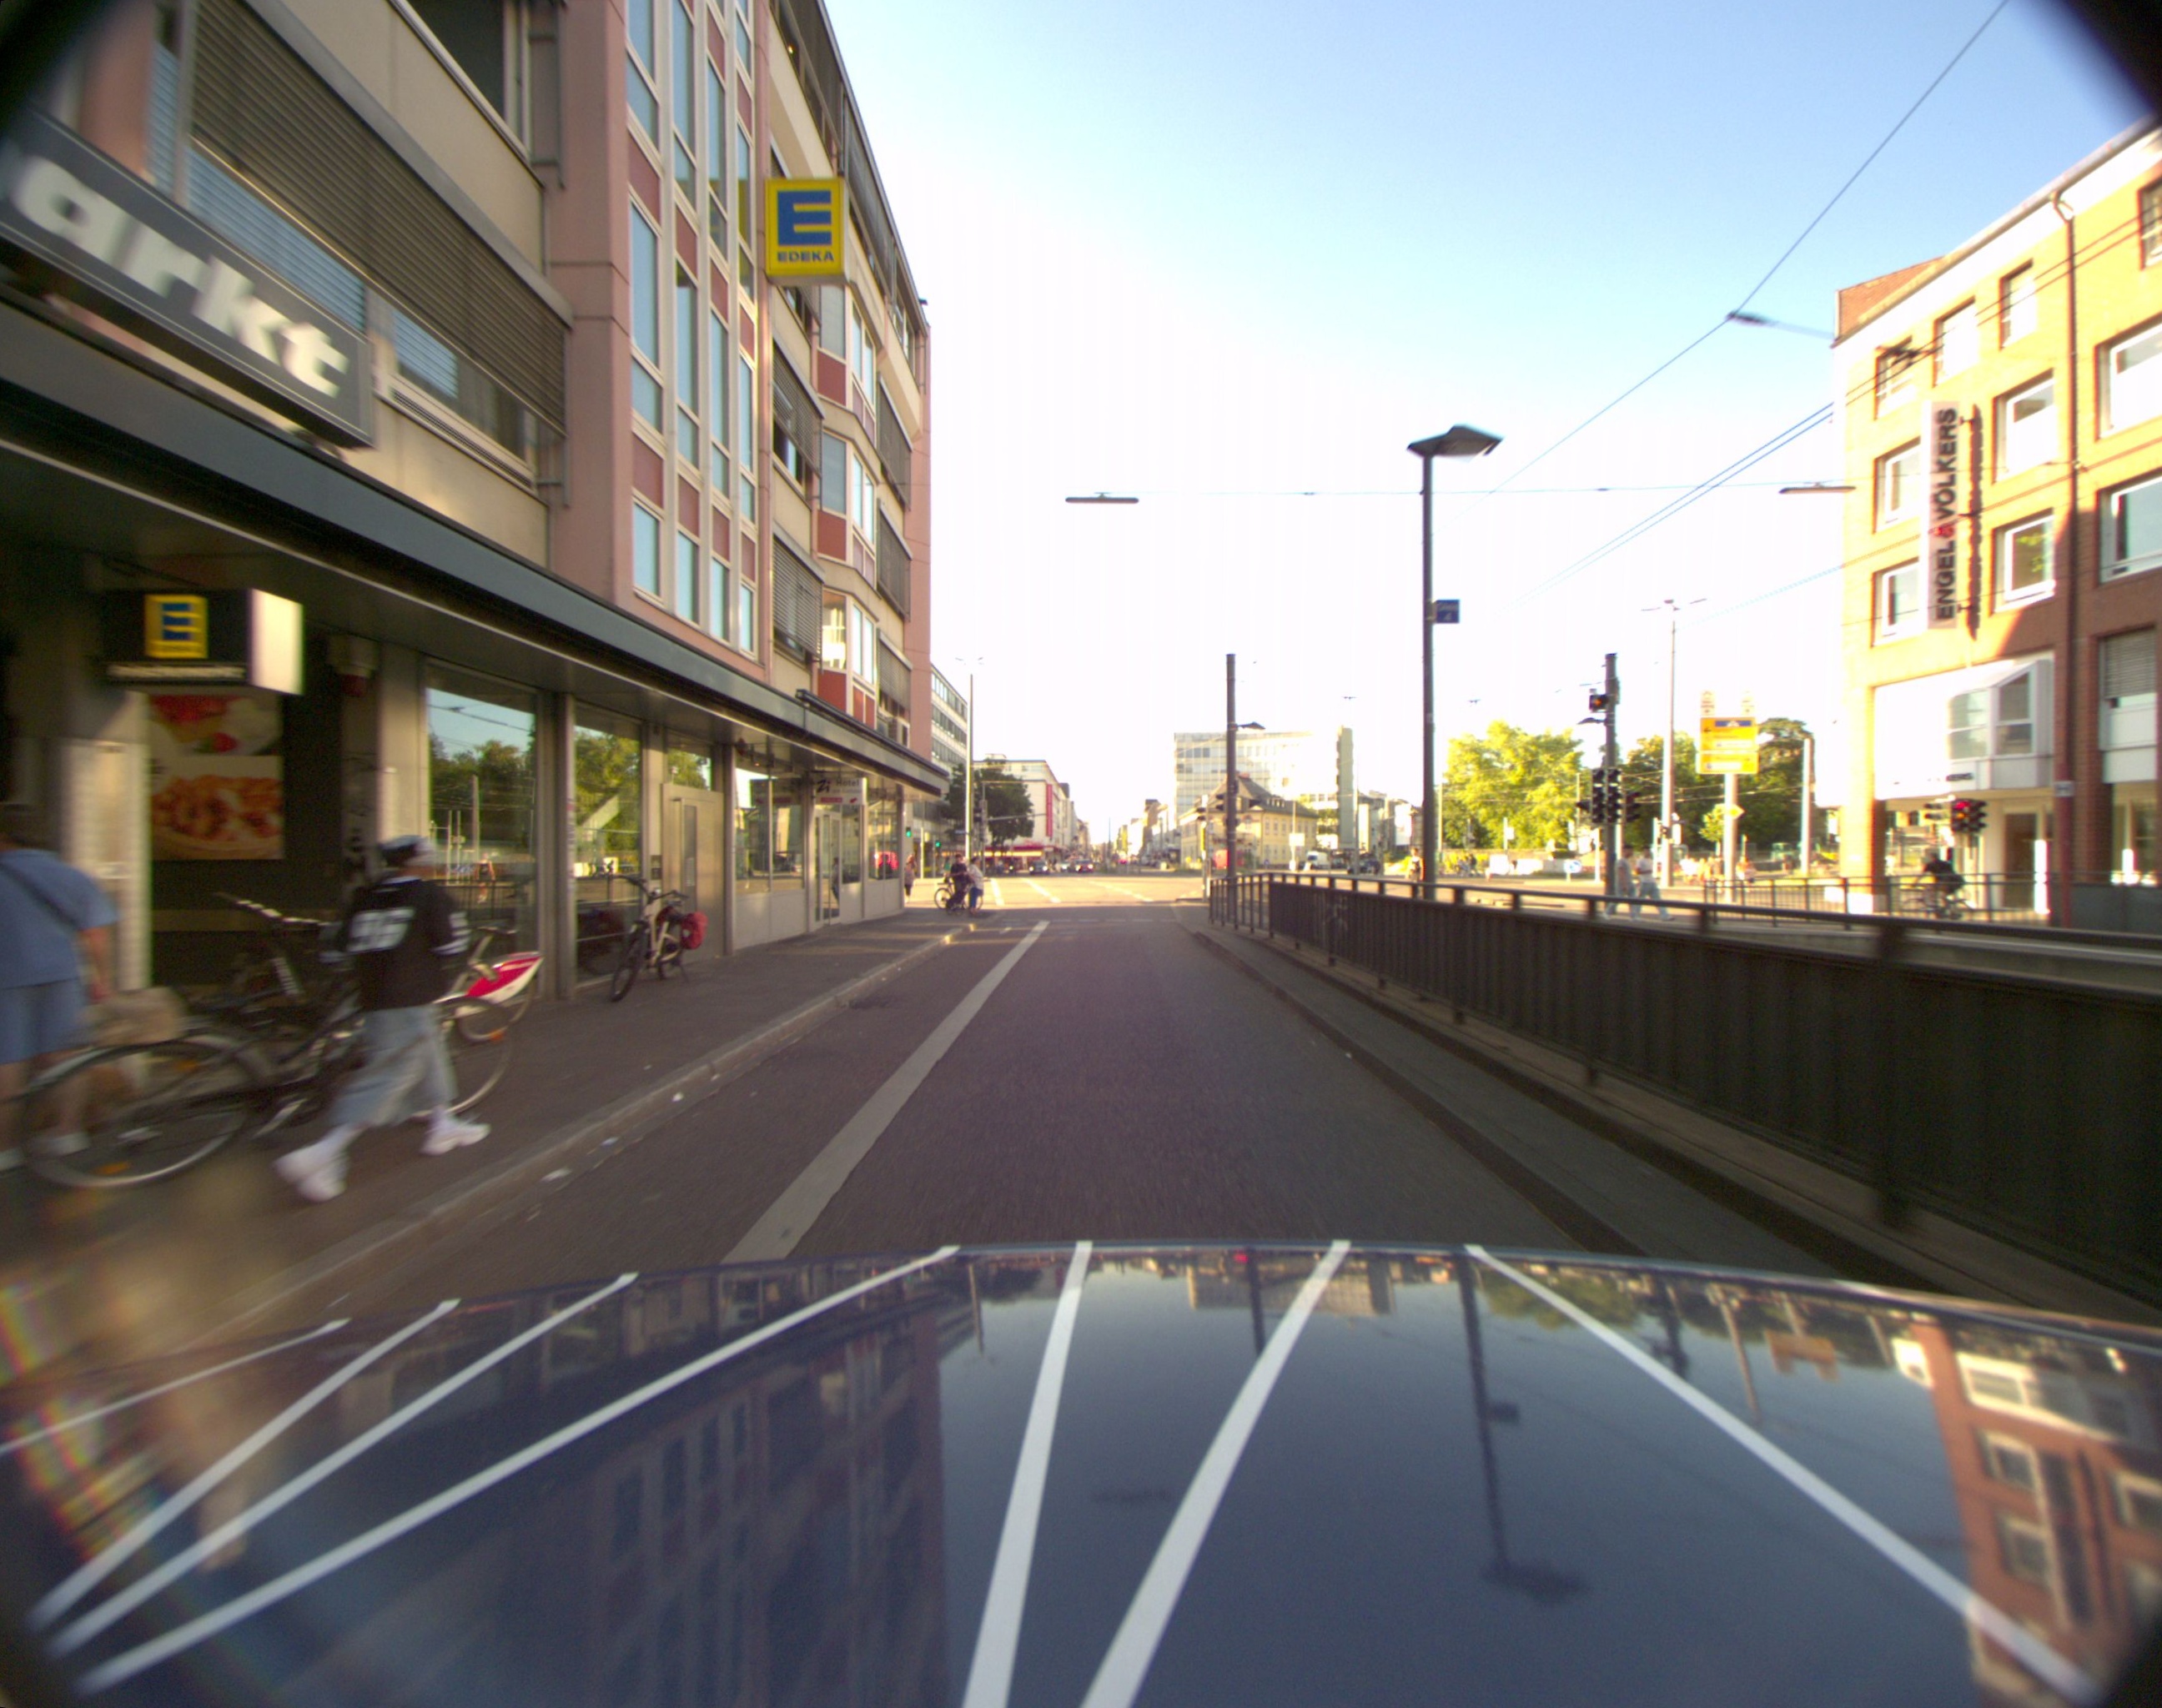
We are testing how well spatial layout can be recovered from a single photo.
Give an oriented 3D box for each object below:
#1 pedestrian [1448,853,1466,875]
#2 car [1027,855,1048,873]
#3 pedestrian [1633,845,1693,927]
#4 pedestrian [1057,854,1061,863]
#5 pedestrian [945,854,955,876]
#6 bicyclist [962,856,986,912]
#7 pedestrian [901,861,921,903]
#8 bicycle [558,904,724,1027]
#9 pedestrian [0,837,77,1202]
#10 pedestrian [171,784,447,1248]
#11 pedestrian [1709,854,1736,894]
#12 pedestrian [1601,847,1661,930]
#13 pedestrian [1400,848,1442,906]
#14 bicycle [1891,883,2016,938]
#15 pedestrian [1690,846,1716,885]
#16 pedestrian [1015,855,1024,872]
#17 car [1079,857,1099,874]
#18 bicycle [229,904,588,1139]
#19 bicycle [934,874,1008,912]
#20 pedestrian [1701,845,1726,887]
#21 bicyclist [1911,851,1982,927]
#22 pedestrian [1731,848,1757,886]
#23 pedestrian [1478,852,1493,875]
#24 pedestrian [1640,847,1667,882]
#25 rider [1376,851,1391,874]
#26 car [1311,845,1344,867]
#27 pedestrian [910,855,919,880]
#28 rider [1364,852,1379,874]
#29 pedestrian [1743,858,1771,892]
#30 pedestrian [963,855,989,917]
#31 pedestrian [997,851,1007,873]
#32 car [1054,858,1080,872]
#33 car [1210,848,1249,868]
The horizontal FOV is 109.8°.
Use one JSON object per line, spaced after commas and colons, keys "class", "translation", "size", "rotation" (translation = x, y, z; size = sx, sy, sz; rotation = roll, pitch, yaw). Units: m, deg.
{"class": "pedestrian", "translation": [34.178, 0.898, 69.093], "size": [1.073, 2.002, 0.989], "rotation": [-3, 1, 6]}
{"class": "car", "translation": [-4.345, 0.962, 76.399], "size": [1.972, 1.664, 4.875], "rotation": [-2, 0, -1]}
{"class": "pedestrian", "translation": [13.154, 0.701, 17.176], "size": [0.862, 1.757, 0.809], "rotation": [-4, 1, -35]}
{"class": "pedestrian", "translation": [-3.361, 0.708, 114.665], "size": [0.597, 1.434, 0.613], "rotation": [0, 1, -2]}
{"class": "pedestrian", "translation": [-8.945, 0.741, 52.008], "size": [0.597, 1.434, 0.613], "rotation": [-3, 1, -10]}
{"class": "bicyclist", "translation": [-3.283, 0.915, 23.331], "size": [0.637, 1.668, 0.768], "rotation": [-1, 1, -2]}
{"class": "pedestrian", "translation": [-6.271, 1.016, 28.007], "size": [0.691, 1.526, 0.613], "rotation": [0, 1, -10]}
{"class": "bicycle", "translation": [-4.532, 1.097, 8.003], "size": [0.678, 0.971, 1.842], "rotation": [4, 1, -2]}
{"class": "pedestrian", "translation": [-4.893, 0.722, 3.363], "size": [0.406, 1.586, 0.462], "rotation": [3, 1, 29]}
{"class": "pedestrian", "translation": [-3.445, 0.632, 3.489], "size": [0.734, 1.805, 0.805], "rotation": [-1, 1, -36]}
{"class": "pedestrian", "translation": [29.492, 0.921, 34.931], "size": [0.858, 1.757, 0.813], "rotation": [-2, 1, 38]}
{"class": "pedestrian", "translation": [12.118, 0.743, 16.750], "size": [0.862, 1.757, 0.809], "rotation": [-4, 1, -39]}
{"class": "pedestrian", "translation": [10.988, 0.744, 24.574], "size": [0.812, 1.793, 0.859], "rotation": [-3, 1, -27]}
{"class": "bicycle", "translation": [20.915, 1.322, 18.282], "size": [0.574, 1.114, 2.055], "rotation": [-3, 1, -2]}
{"class": "pedestrian", "translation": [33.210, 0.614, 40.567], "size": [0.812, 2.002, 0.858], "rotation": [-4, 1, -39]}
{"class": "pedestrian", "translation": [-6.226, 0.971, 76.813], "size": [0.860, 1.700, 1.051], "rotation": [-2, 1, -3]}
{"class": "car", "translation": [0.838, 1.211, 79.477], "size": [1.971, 1.664, 4.876], "rotation": [-2, 0, 1]}
{"class": "bicycle", "translation": [-4.390, 0.999, 5.148], "size": [0.800, 1.169, 1.634], "rotation": [3, 1, 13]}
{"class": "bicycle", "translation": [-3.363, 1.184, 23.318], "size": [2.175, 1.117, 0.768], "rotation": [-1, 1, -3]}
{"class": "pedestrian", "translation": [30.993, 0.582, 37.249], "size": [0.858, 2.002, 0.813], "rotation": [-2, 1, 38]}
{"class": "bicyclist", "translation": [20.878, 0.836, 18.333], "size": [0.738, 1.757, 0.811], "rotation": [-3, 1, -1]}
{"class": "pedestrian", "translation": [36.326, 0.713, 41.629], "size": [0.812, 2.002, 0.858], "rotation": [-4, 1, -39]}
{"class": "pedestrian", "translation": [36.616, 0.820, 68.786], "size": [1.011, 2.002, 0.991], "rotation": [-2, 1, 35]}
{"class": "pedestrian", "translation": [33.446, 0.599, 44.393], "size": [0.811, 2.002, 0.860], "rotation": [-3, 1, -13]}
{"class": "rider", "translation": [28.390, 0.798, 71.383], "size": [1.011, 2.002, 0.991], "rotation": [-2, 1, 35]}
{"class": "car", "translation": [36.244, 0.207, 111.542], "size": [2.535, 3.031, 6.387], "rotation": [2, 2, 38]}
{"class": "pedestrian", "translation": [-11.652, 0.948, 53.160], "size": [0.407, 1.708, 0.394], "rotation": [-3, 1, -22]}
{"class": "rider", "translation": [27.674, 0.834, 72.351], "size": [1.011, 2.002, 1.022], "rotation": [-2, 1, 35]}
{"class": "pedestrian", "translation": [30.732, 0.949, 34.534], "size": [0.858, 1.502, 0.813], "rotation": [-2, 1, 38]}
{"class": "pedestrian", "translation": [-2.920, 0.886, 21.129], "size": [0.637, 1.652, 0.768], "rotation": [3, 0, -8]}
{"class": "pedestrian", "translation": [-7.374, 0.788, 71.052], "size": [0.747, 2.002, 1.070], "rotation": [-3, 1, -12]}
{"class": "car", "translation": [-1.774, 1.373, 93.109], "size": [1.974, 1.664, 4.869], "rotation": [-2, 0, -15]}
{"class": "car", "translation": [18.542, 0.533, 95.138], "size": [2.545, 2.440, 5.415], "rotation": [-2, 0, -15]}
